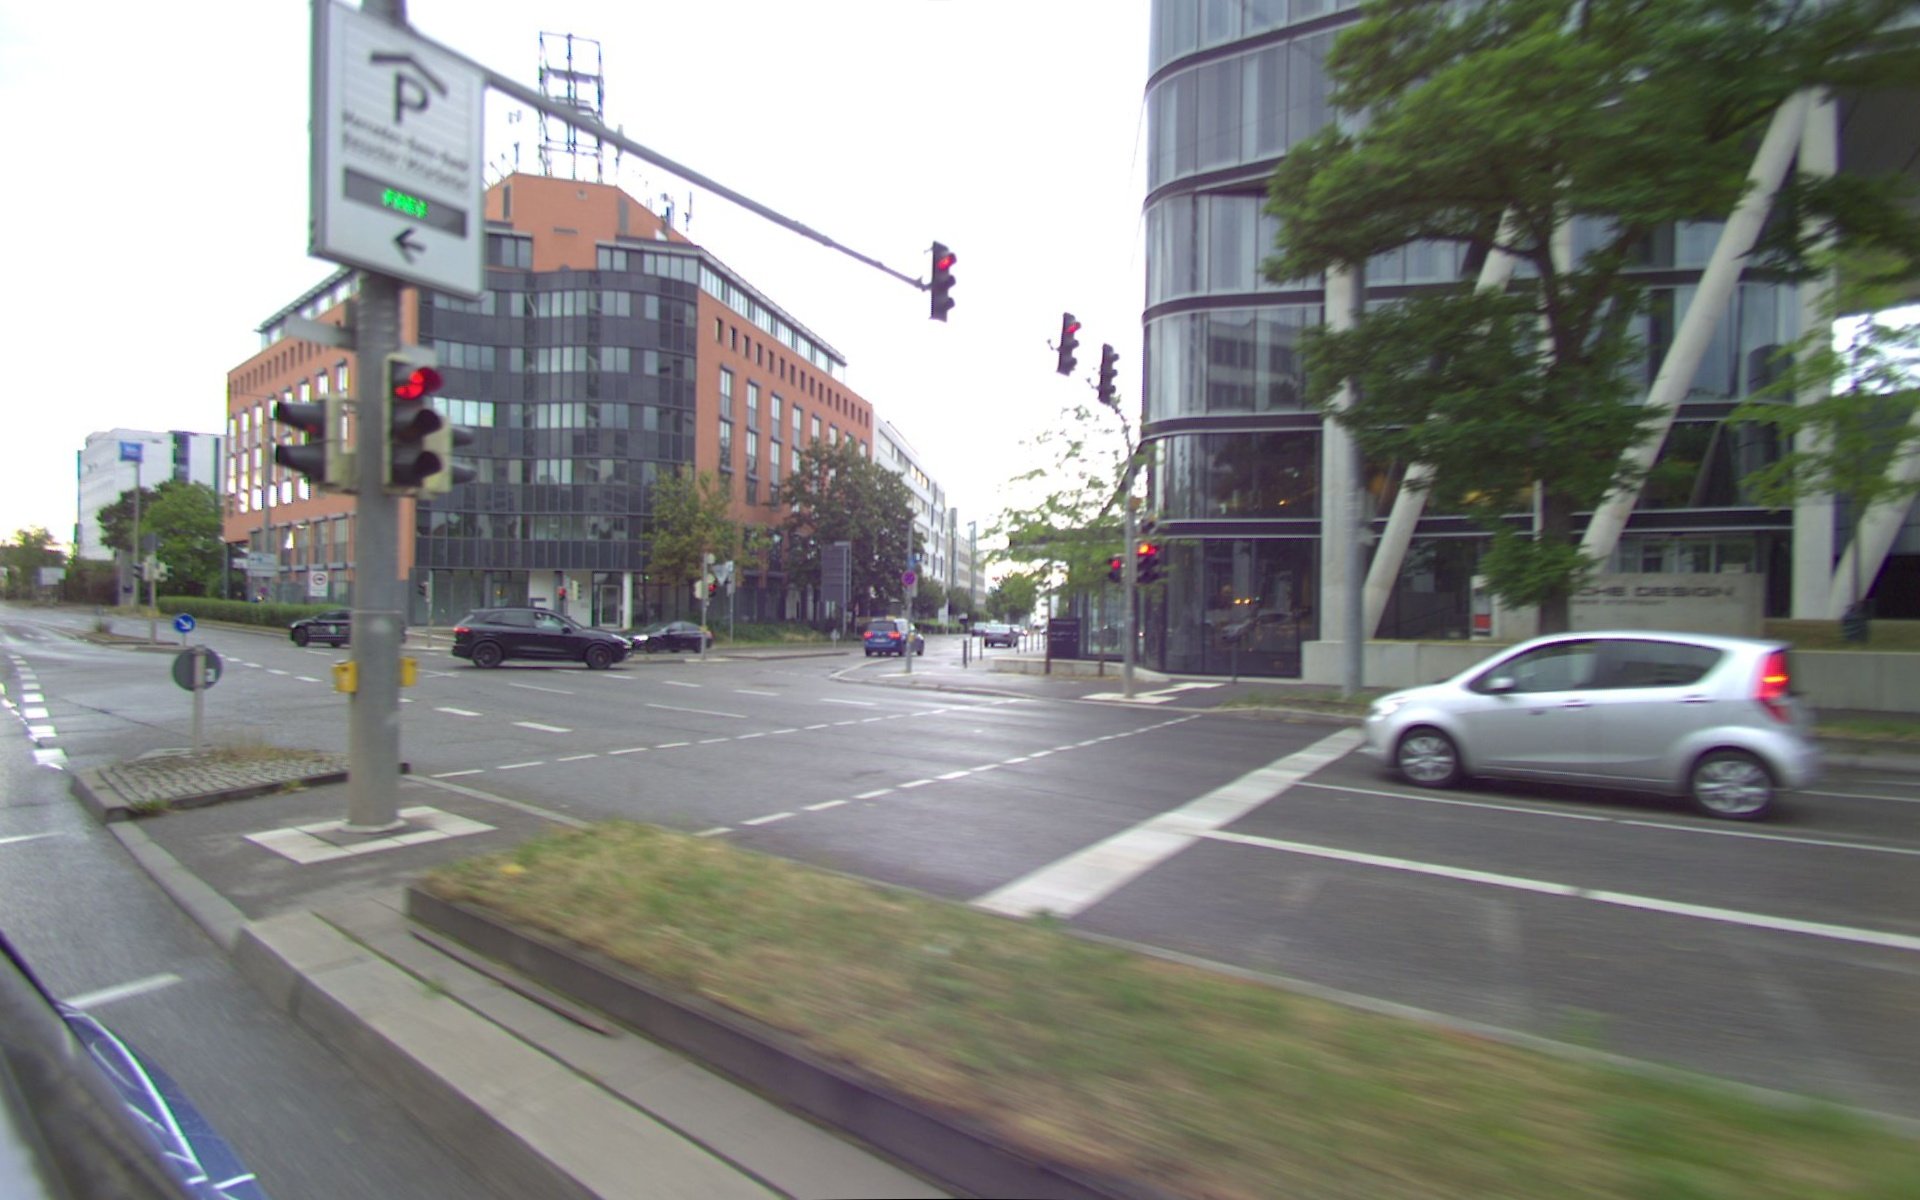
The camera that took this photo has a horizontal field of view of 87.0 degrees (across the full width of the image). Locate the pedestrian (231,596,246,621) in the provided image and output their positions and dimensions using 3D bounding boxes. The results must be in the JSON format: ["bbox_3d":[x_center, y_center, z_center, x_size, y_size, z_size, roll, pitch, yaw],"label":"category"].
[{"bbox_3d":[-53.457,0.613,75.012,0.886,1.855,0.738,0,1,42],"label":"pedestrian"}]

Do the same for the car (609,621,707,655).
[{"bbox_3d":[-13.315,1.679,44.800,1.846,1.373,3.957,1,-2,31],"label":"car"}]

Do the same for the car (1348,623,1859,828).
[{"bbox_3d":[5.895,1.013,9.589,3.813,1.532,1.732,-1,-3,39],"label":"car"}]

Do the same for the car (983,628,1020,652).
[{"bbox_3d":[2.867,2.718,68.913,1.834,1.522,4.031,1,-1,13],"label":"car"}]

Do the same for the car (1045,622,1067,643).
[{"bbox_3d":[9.011,3.027,94.782,1.976,1.918,3.991,1,-1,7],"label":"car"}]

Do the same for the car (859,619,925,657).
[{"bbox_3d":[-3.004,1.716,45.646,1.761,1.608,4.177,1,-2,14],"label":"car"}]

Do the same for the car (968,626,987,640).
[{"bbox_3d":[2.041,3.855,117.981,1.778,1.522,3.991,1,-2,7],"label":"car"}]

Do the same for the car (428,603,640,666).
[{"bbox_3d":[-11.884,0.979,28.652,5.331,1.679,2.006,1,-1,-19],"label":"car"}]

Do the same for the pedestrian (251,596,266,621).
[{"bbox_3d":[-52.330,0.628,75.489,0.886,1.855,0.738,0,1,42],"label":"pedestrian"}]

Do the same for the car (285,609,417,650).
[{"bbox_3d":[-24.405,1.177,40.628,4.323,1.522,1.852,1,-2,9],"label":"car"}]
